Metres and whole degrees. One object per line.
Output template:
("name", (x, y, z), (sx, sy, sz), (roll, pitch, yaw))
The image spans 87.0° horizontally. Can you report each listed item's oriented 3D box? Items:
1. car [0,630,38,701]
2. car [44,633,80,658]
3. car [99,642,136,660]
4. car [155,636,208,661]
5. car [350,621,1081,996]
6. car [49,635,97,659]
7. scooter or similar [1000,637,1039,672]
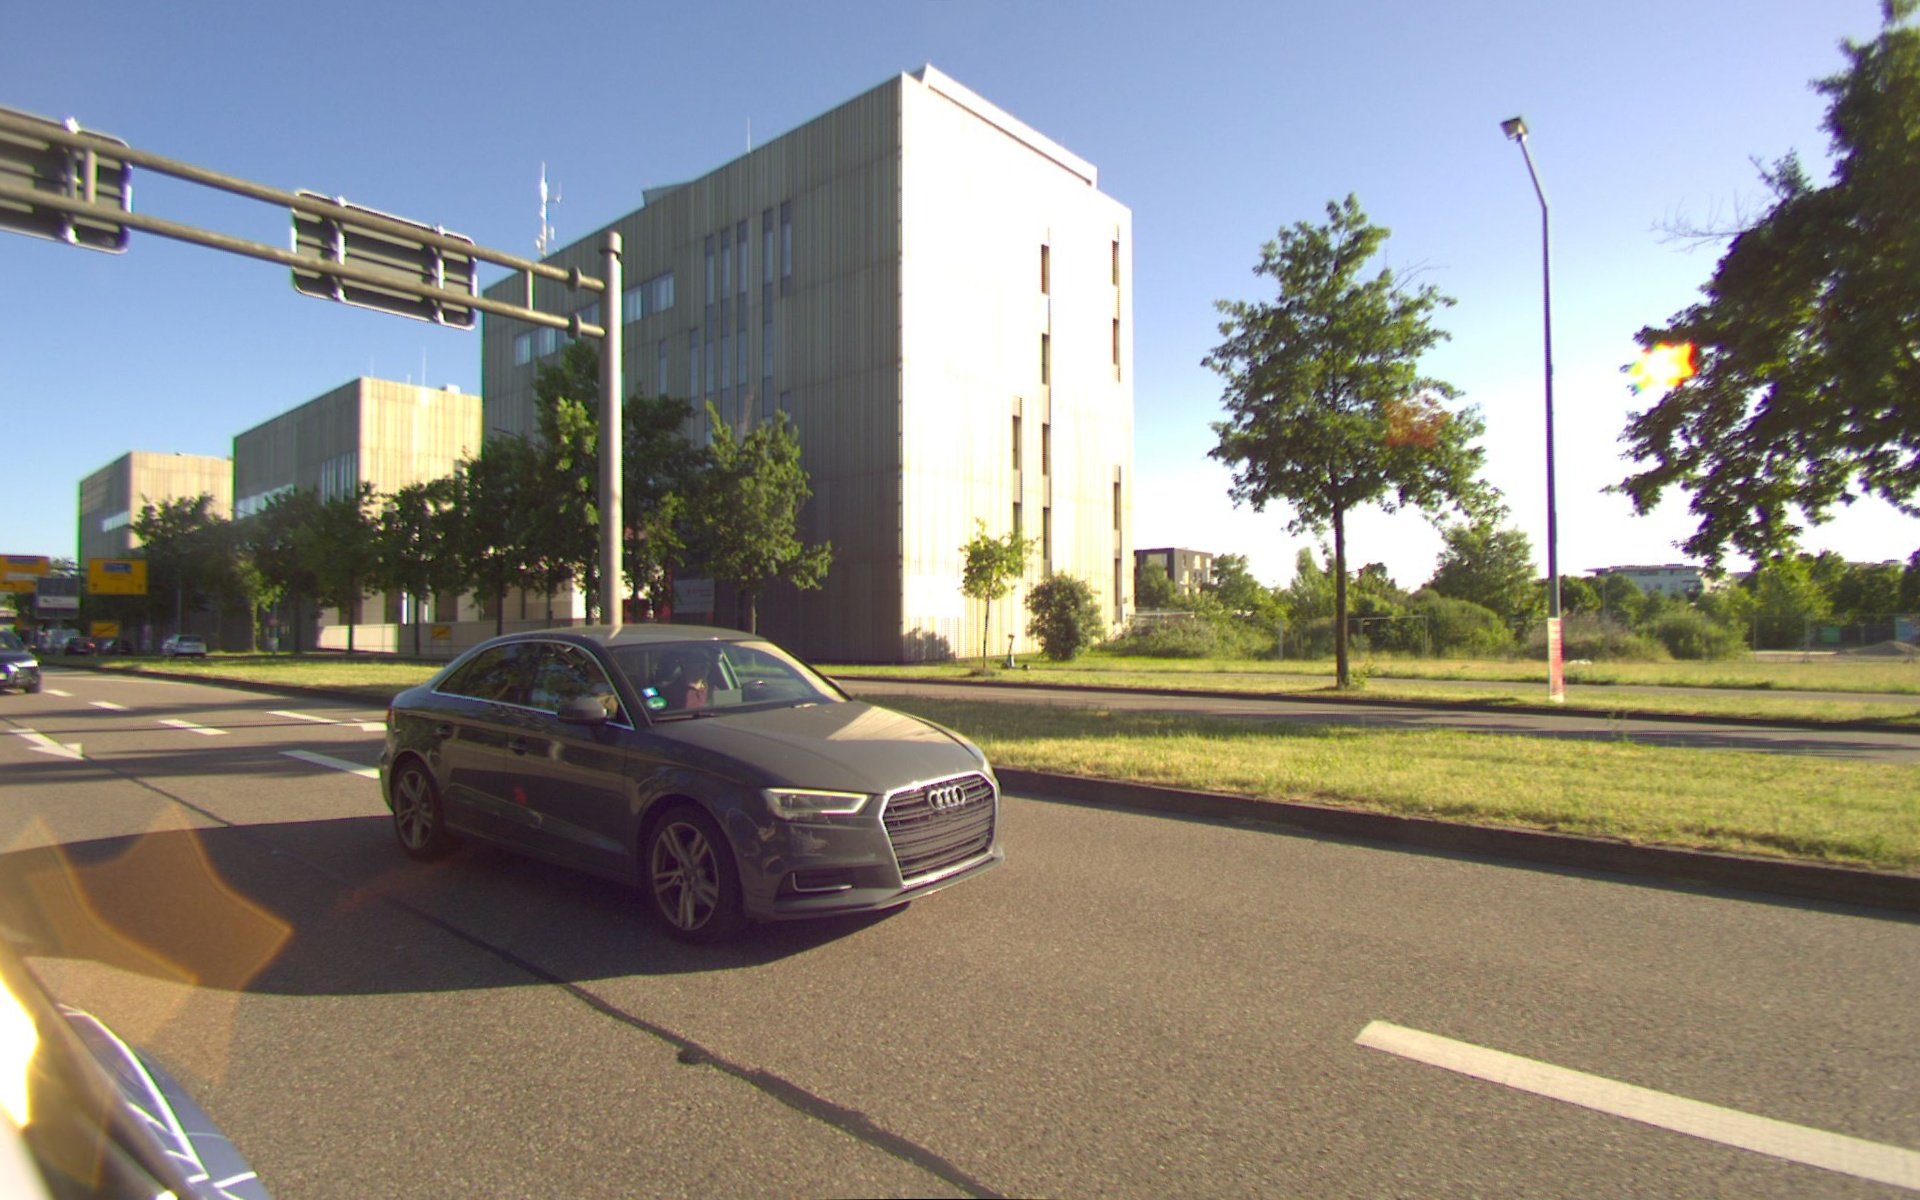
("car", (-22.016, 1.421, 22.456), (5.014, 1.454, 1.774), (-2, -2, 41))
("car", (-83.015, 4.207, 93.574), (3.998, 2.202, 1.973), (-2, -3, 41))
("car", (-77.219, 4.673, 92.715), (3.998, 1.590, 1.973), (-2, -3, 41))
("car", (-50.159, 3.102, 65.177), (3.998, 1.590, 1.973), (-2, -3, 41))
("car", (-1.635, 0.846, 5.822), (4.351, 1.390, 1.744), (-2, -2, 37))
("car", (-61.939, 3.256, 70.644), (3.998, 1.590, 1.973), (-2, -3, 41))
("scooter or similar", (1.899, 1.731, 32.391), (0.446, 1.119, 1.409), (1, -2, -35))
